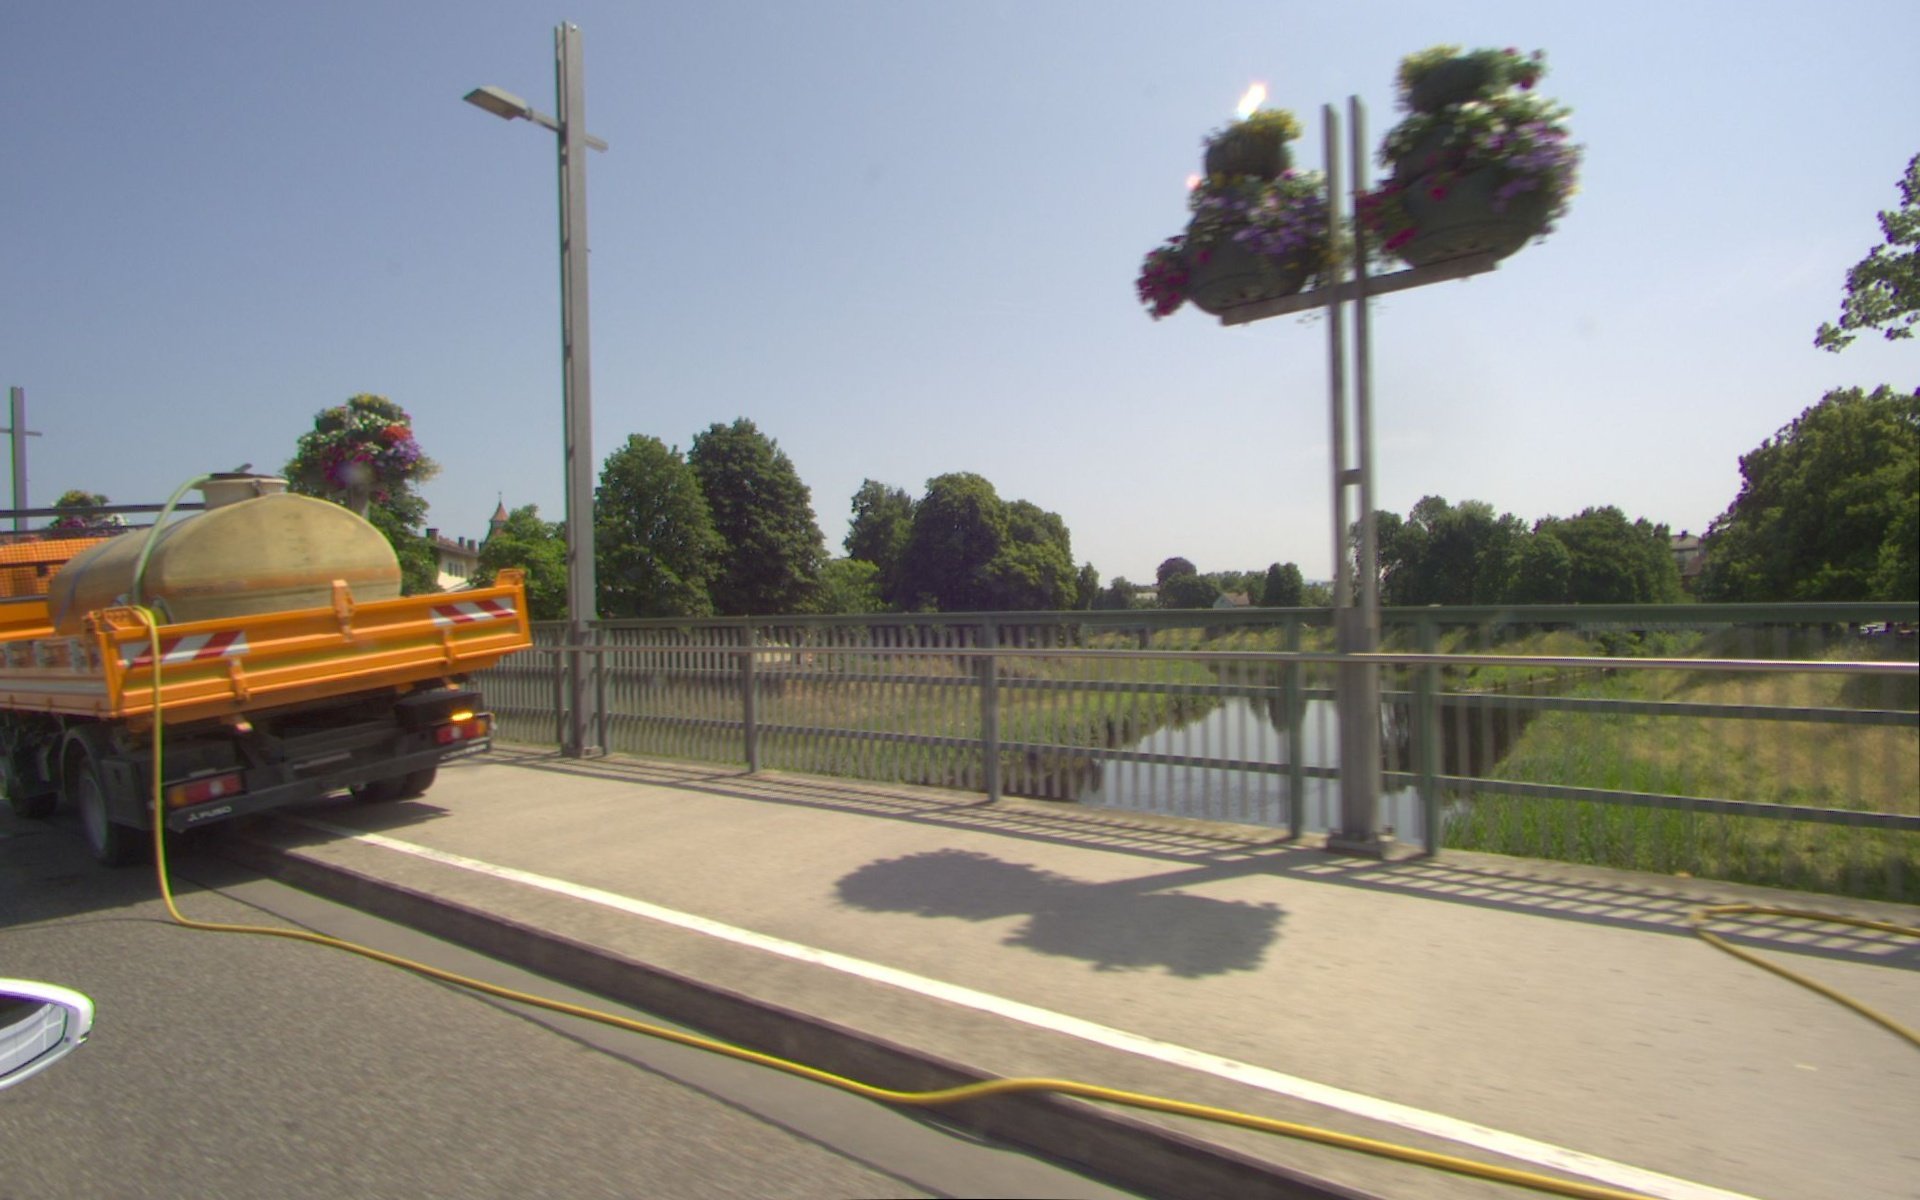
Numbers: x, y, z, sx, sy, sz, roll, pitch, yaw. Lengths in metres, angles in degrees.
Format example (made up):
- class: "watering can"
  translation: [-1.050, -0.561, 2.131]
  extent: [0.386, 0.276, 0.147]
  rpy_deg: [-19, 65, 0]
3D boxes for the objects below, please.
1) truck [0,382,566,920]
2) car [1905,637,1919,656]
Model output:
- class: "truck"
  translation: [-5.945, 0.274, 7.837]
  extent: [5.749, 2.728, 2.595]
  rpy_deg: [-1, 2, 37]
- class: "car"
  translation: [83.201, 4.013, 86.292]
  extent: [1.802, 1.571, 3.983]
  rpy_deg: [0, -3, 31]
